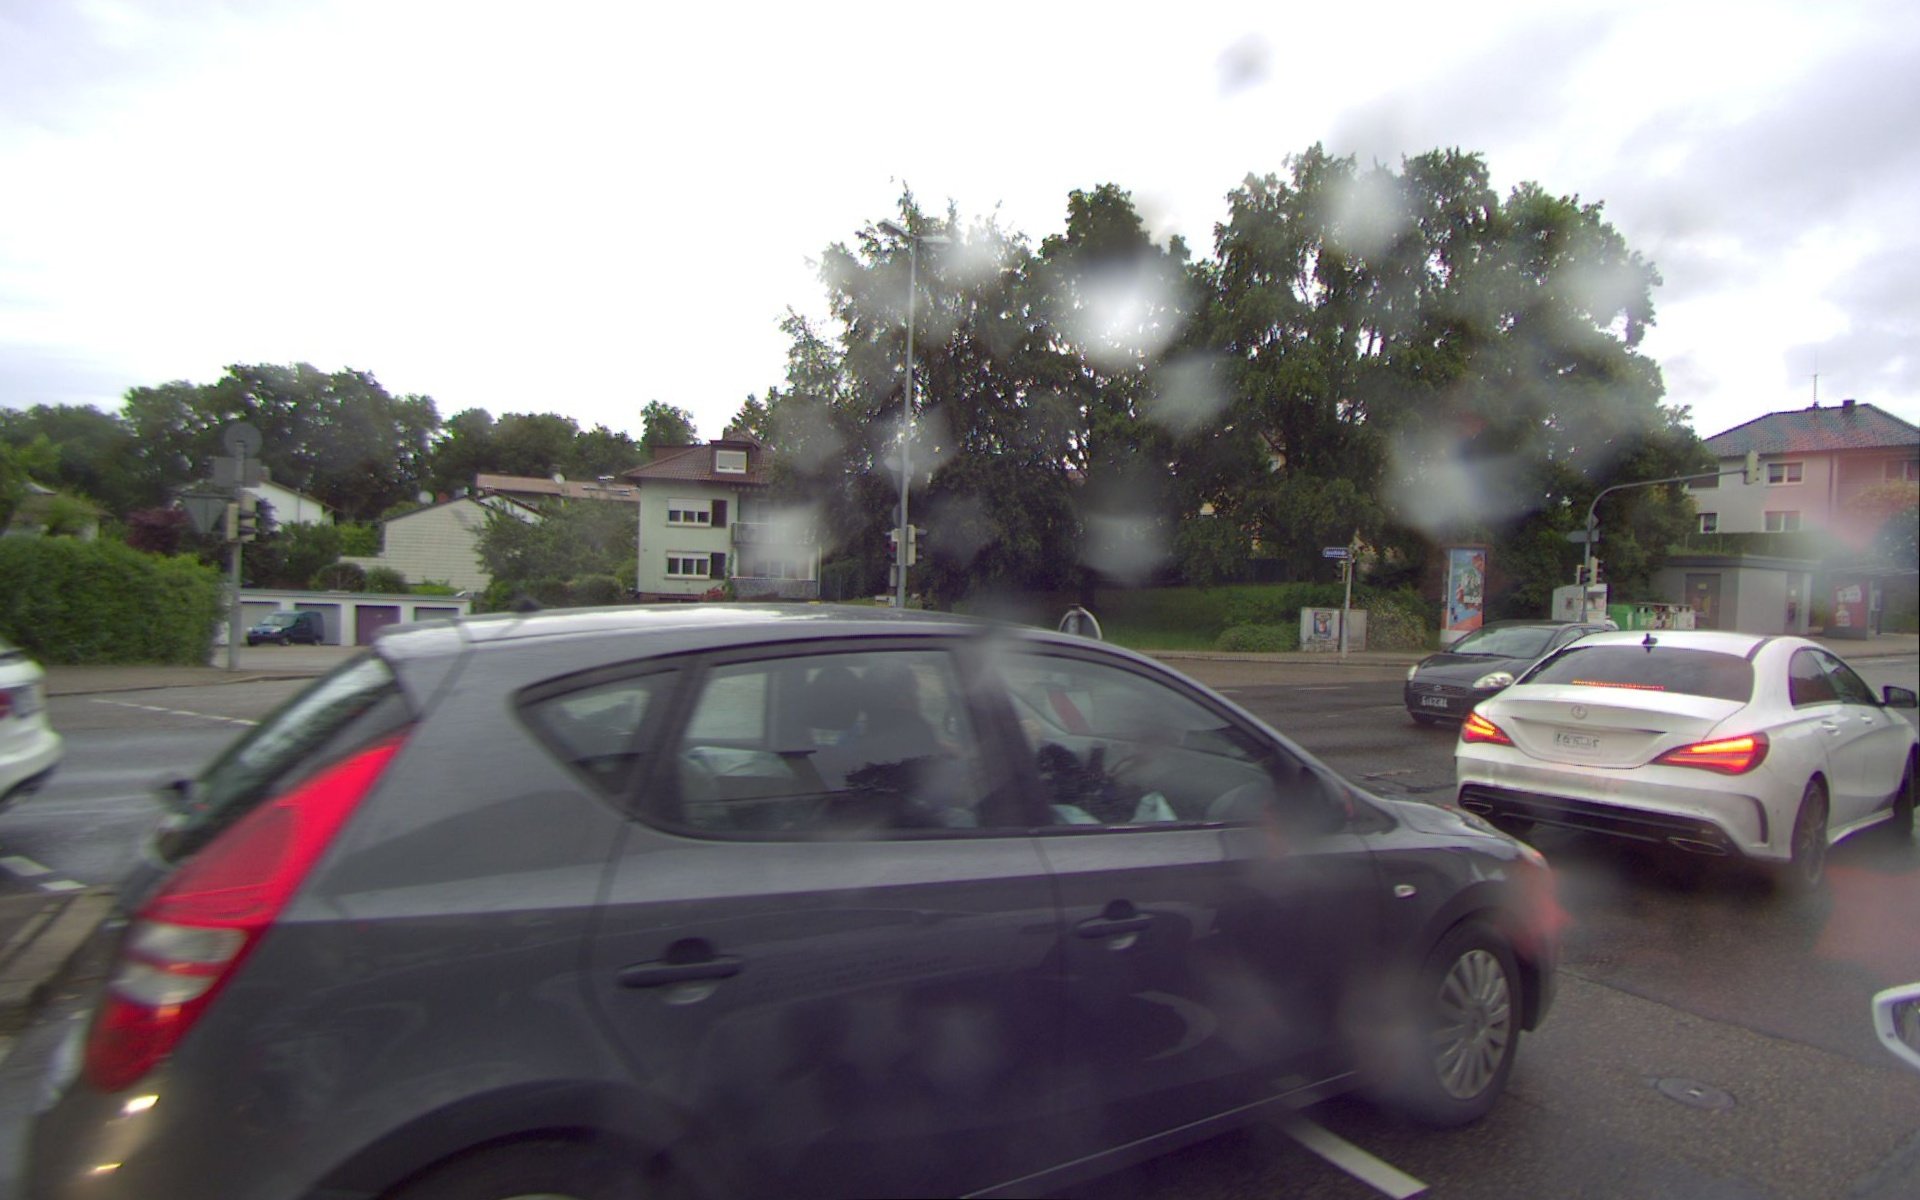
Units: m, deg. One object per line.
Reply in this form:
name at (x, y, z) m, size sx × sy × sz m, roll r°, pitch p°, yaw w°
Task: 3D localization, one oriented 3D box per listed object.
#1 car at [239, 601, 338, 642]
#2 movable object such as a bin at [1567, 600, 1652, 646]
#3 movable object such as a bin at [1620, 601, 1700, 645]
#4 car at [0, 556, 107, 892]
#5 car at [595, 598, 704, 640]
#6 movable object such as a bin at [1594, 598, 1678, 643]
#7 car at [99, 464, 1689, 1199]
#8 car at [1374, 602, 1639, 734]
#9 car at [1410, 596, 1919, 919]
car at (-31.985, 1.025, 47.972) m, size 1.900 × 1.873 × 4.094 m, roll 1°, pitch -1°, yaw 1°
movable object such as a bin at (23.081, 0.790, 35.723) m, size 1.560 × 1.590 × 2.052 m, roll -1°, pitch 0°, yaw -25°
movable object such as a bin at (25.806, 0.831, 37.054) m, size 1.325 × 1.535 × 2.052 m, roll -1°, pitch 0°, yaw -25°
car at (-6.834, 0.495, 4.213) m, size 4.722 × 1.577 × 1.824 m, roll 3°, pitch -1°, yaw -35°
car at (-13.502, 0.815, 43.752) m, size 4.112 × 1.726 × 1.939 m, roll 0°, pitch -1°, yaw 17°
movable object such as a bin at (24.492, 0.719, 36.427) m, size 1.560 × 1.590 × 2.052 m, roll -1°, pitch 0°, yaw -25°
car at (0.206, 0.644, 3.068) m, size 4.012 × 1.507 × 1.826 m, roll 2°, pitch -1°, yaw -31°
car at (7.839, 0.906, 14.272) m, size 3.967 × 1.595 × 1.977 m, roll 3°, pitch -1°, yaw -40°
car at (5.245, 0.831, 7.043) m, size 4.611 × 1.548 × 1.893 m, roll 2°, pitch -1°, yaw -38°
